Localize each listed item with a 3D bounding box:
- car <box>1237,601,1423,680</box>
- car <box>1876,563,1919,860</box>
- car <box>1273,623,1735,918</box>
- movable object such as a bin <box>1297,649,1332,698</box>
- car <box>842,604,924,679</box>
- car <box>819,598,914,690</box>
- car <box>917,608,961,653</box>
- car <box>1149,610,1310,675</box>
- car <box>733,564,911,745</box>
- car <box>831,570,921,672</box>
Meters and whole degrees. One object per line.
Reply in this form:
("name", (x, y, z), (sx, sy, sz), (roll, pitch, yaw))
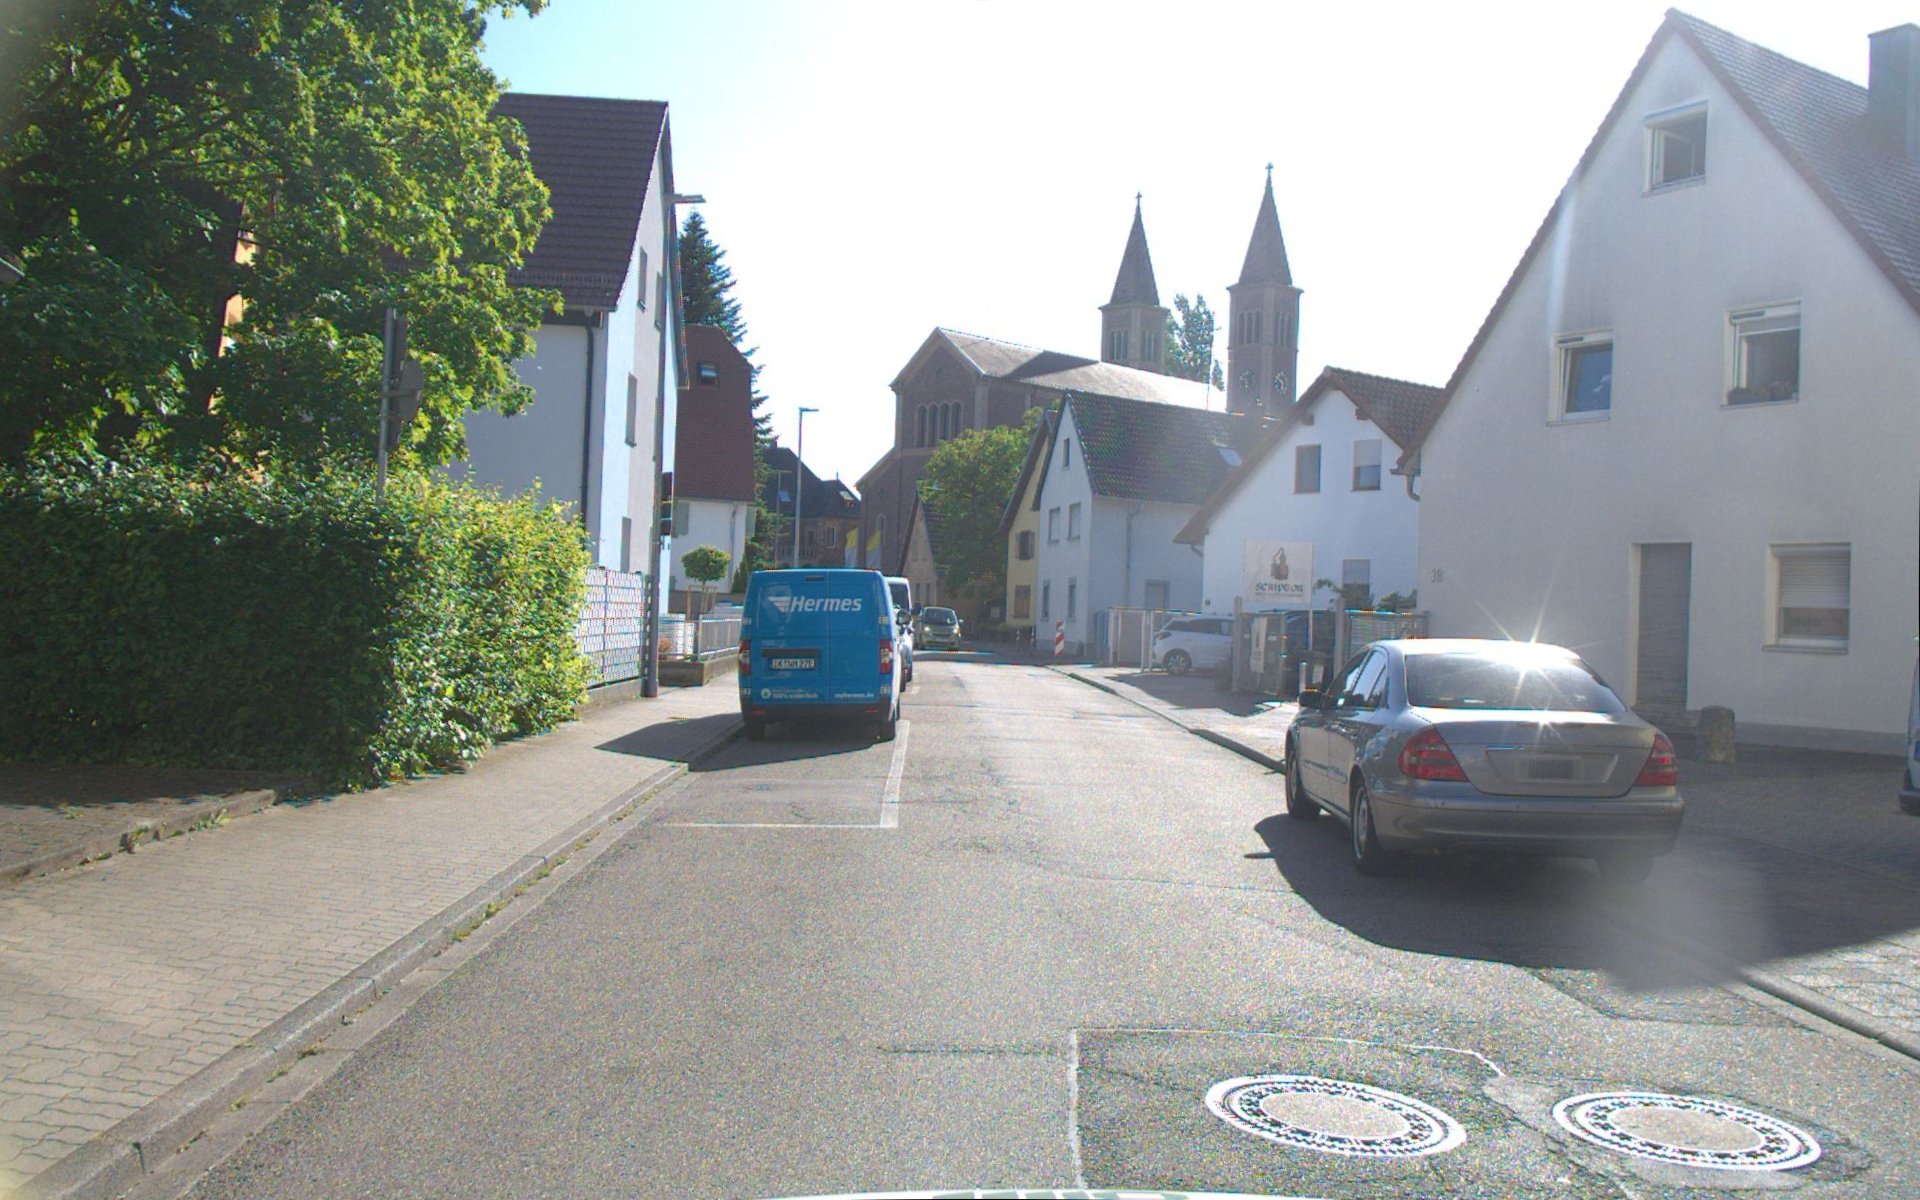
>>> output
("car", (8.574, 0.922, 38.296), (3.993, 1.718, 1.893), (1, 0, -30))
("car", (8.577, 0.725, 10.513), (4.674, 1.919, 1.905), (0, 0, -9))
("car", (3.430, 0.968, 11.435), (1.774, 1.501, 4.661), (3, 0, 2))
("movable object such as a bin", (7.117, 1.468, 33.210), (0.510, 0.939, 0.418), (4, -2, -31))
("car", (-1.670, 0.882, 36.661), (1.677, 1.531, 4.233), (1, 0, -2))
("car", (-1.731, 0.784, 31.501), (1.680, 1.626, 3.924), (1, 0, -2))
("car", (-0.783, 1.094, 60.921), (1.542, 1.573, 2.964), (1, 0, -2))
("car", (6.638, 1.037, 41.050), (3.829, 1.518, 1.848), (1, -1, 7))
("car", (-1.567, 0.593, 20.459), (1.864, 1.951, 5.068), (1, 0, -1))
("car", (-2.112, 0.500, 42.760), (2.152, 2.432, 6.062), (0, 0, -2))
